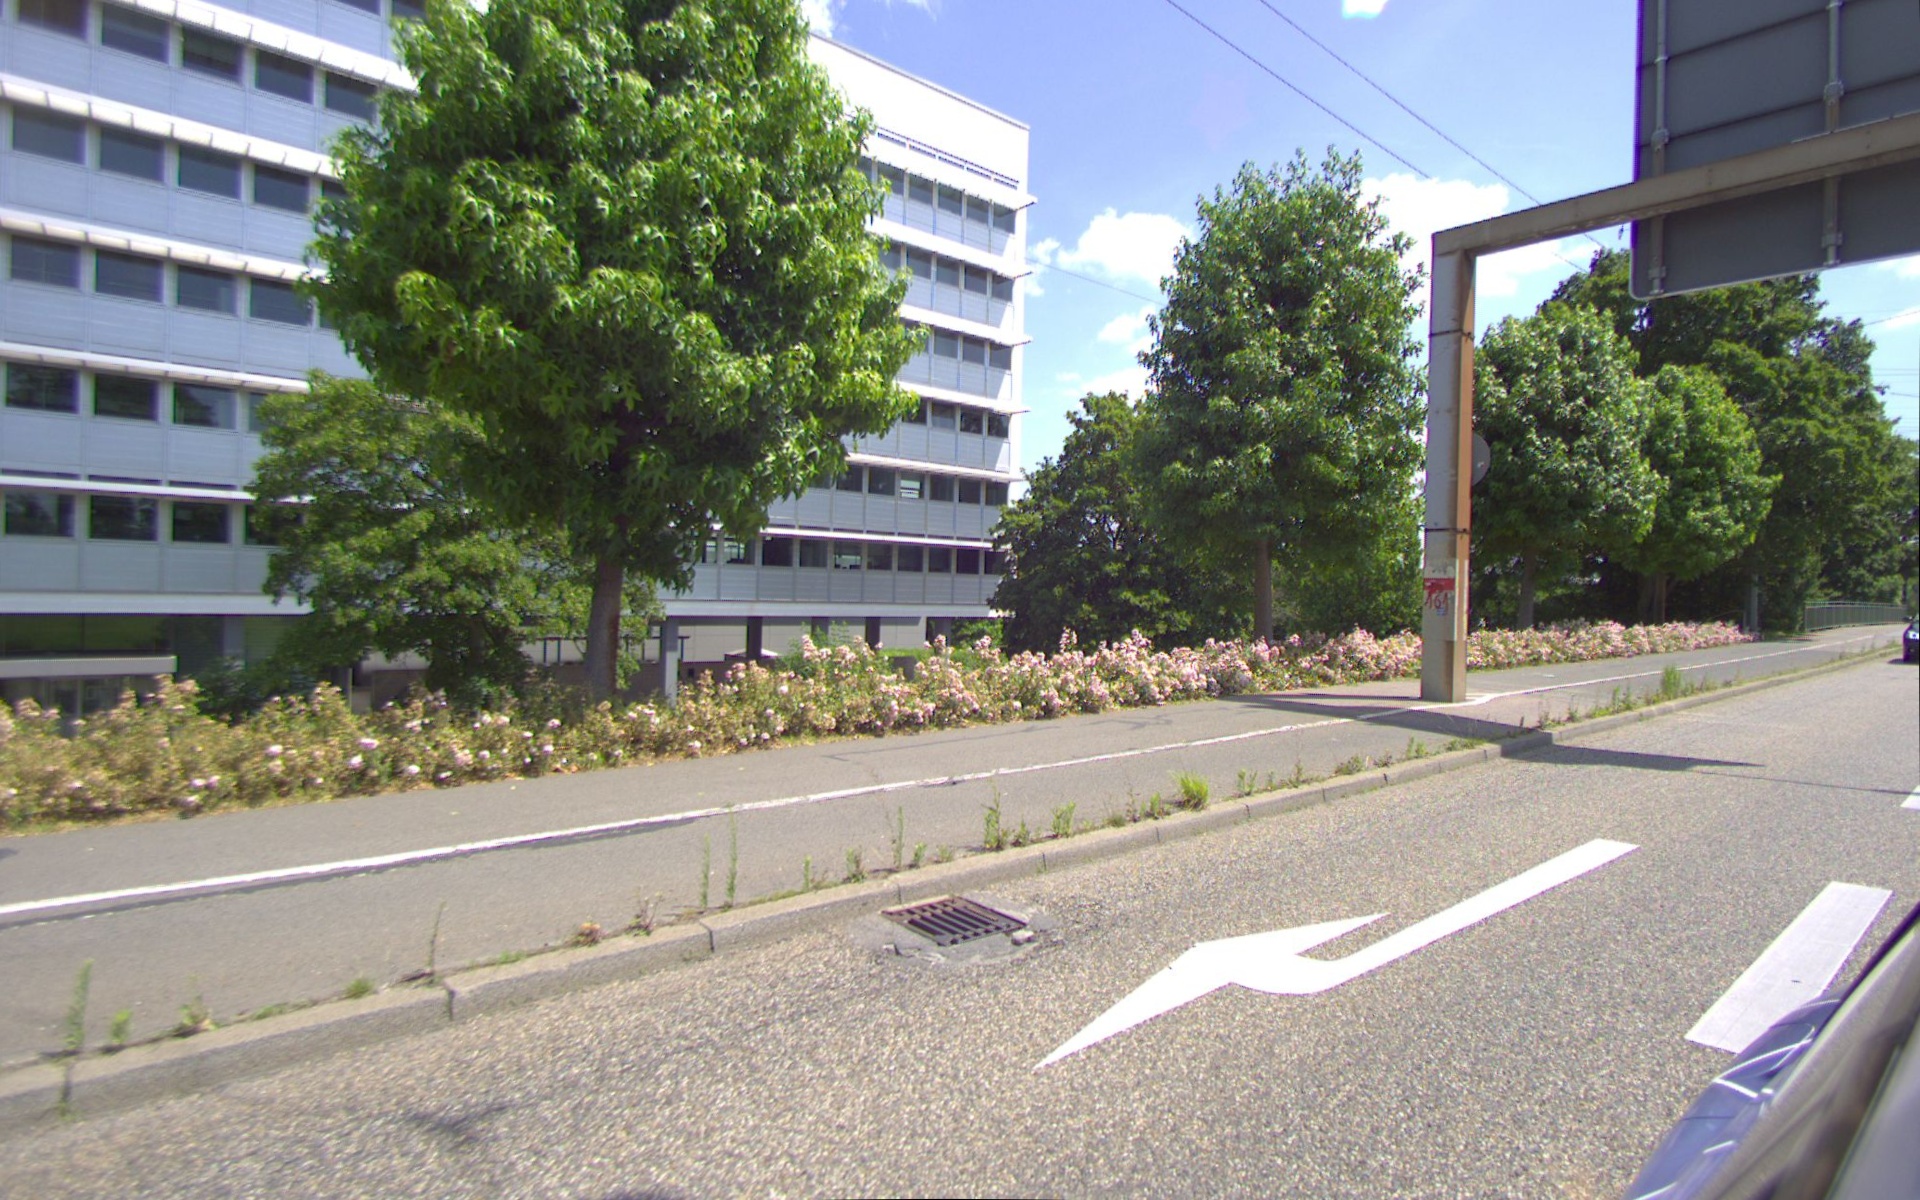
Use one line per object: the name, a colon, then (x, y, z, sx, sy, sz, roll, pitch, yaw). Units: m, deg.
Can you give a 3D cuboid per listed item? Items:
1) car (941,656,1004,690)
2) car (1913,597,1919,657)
car: (0.636, 3.780, 52.999, 1.517, 1.536, 3.371, 0, 0, -39)
car: (25.028, 0.666, 25.051, 3.931, 1.448, 1.769, 1, 0, -42)
